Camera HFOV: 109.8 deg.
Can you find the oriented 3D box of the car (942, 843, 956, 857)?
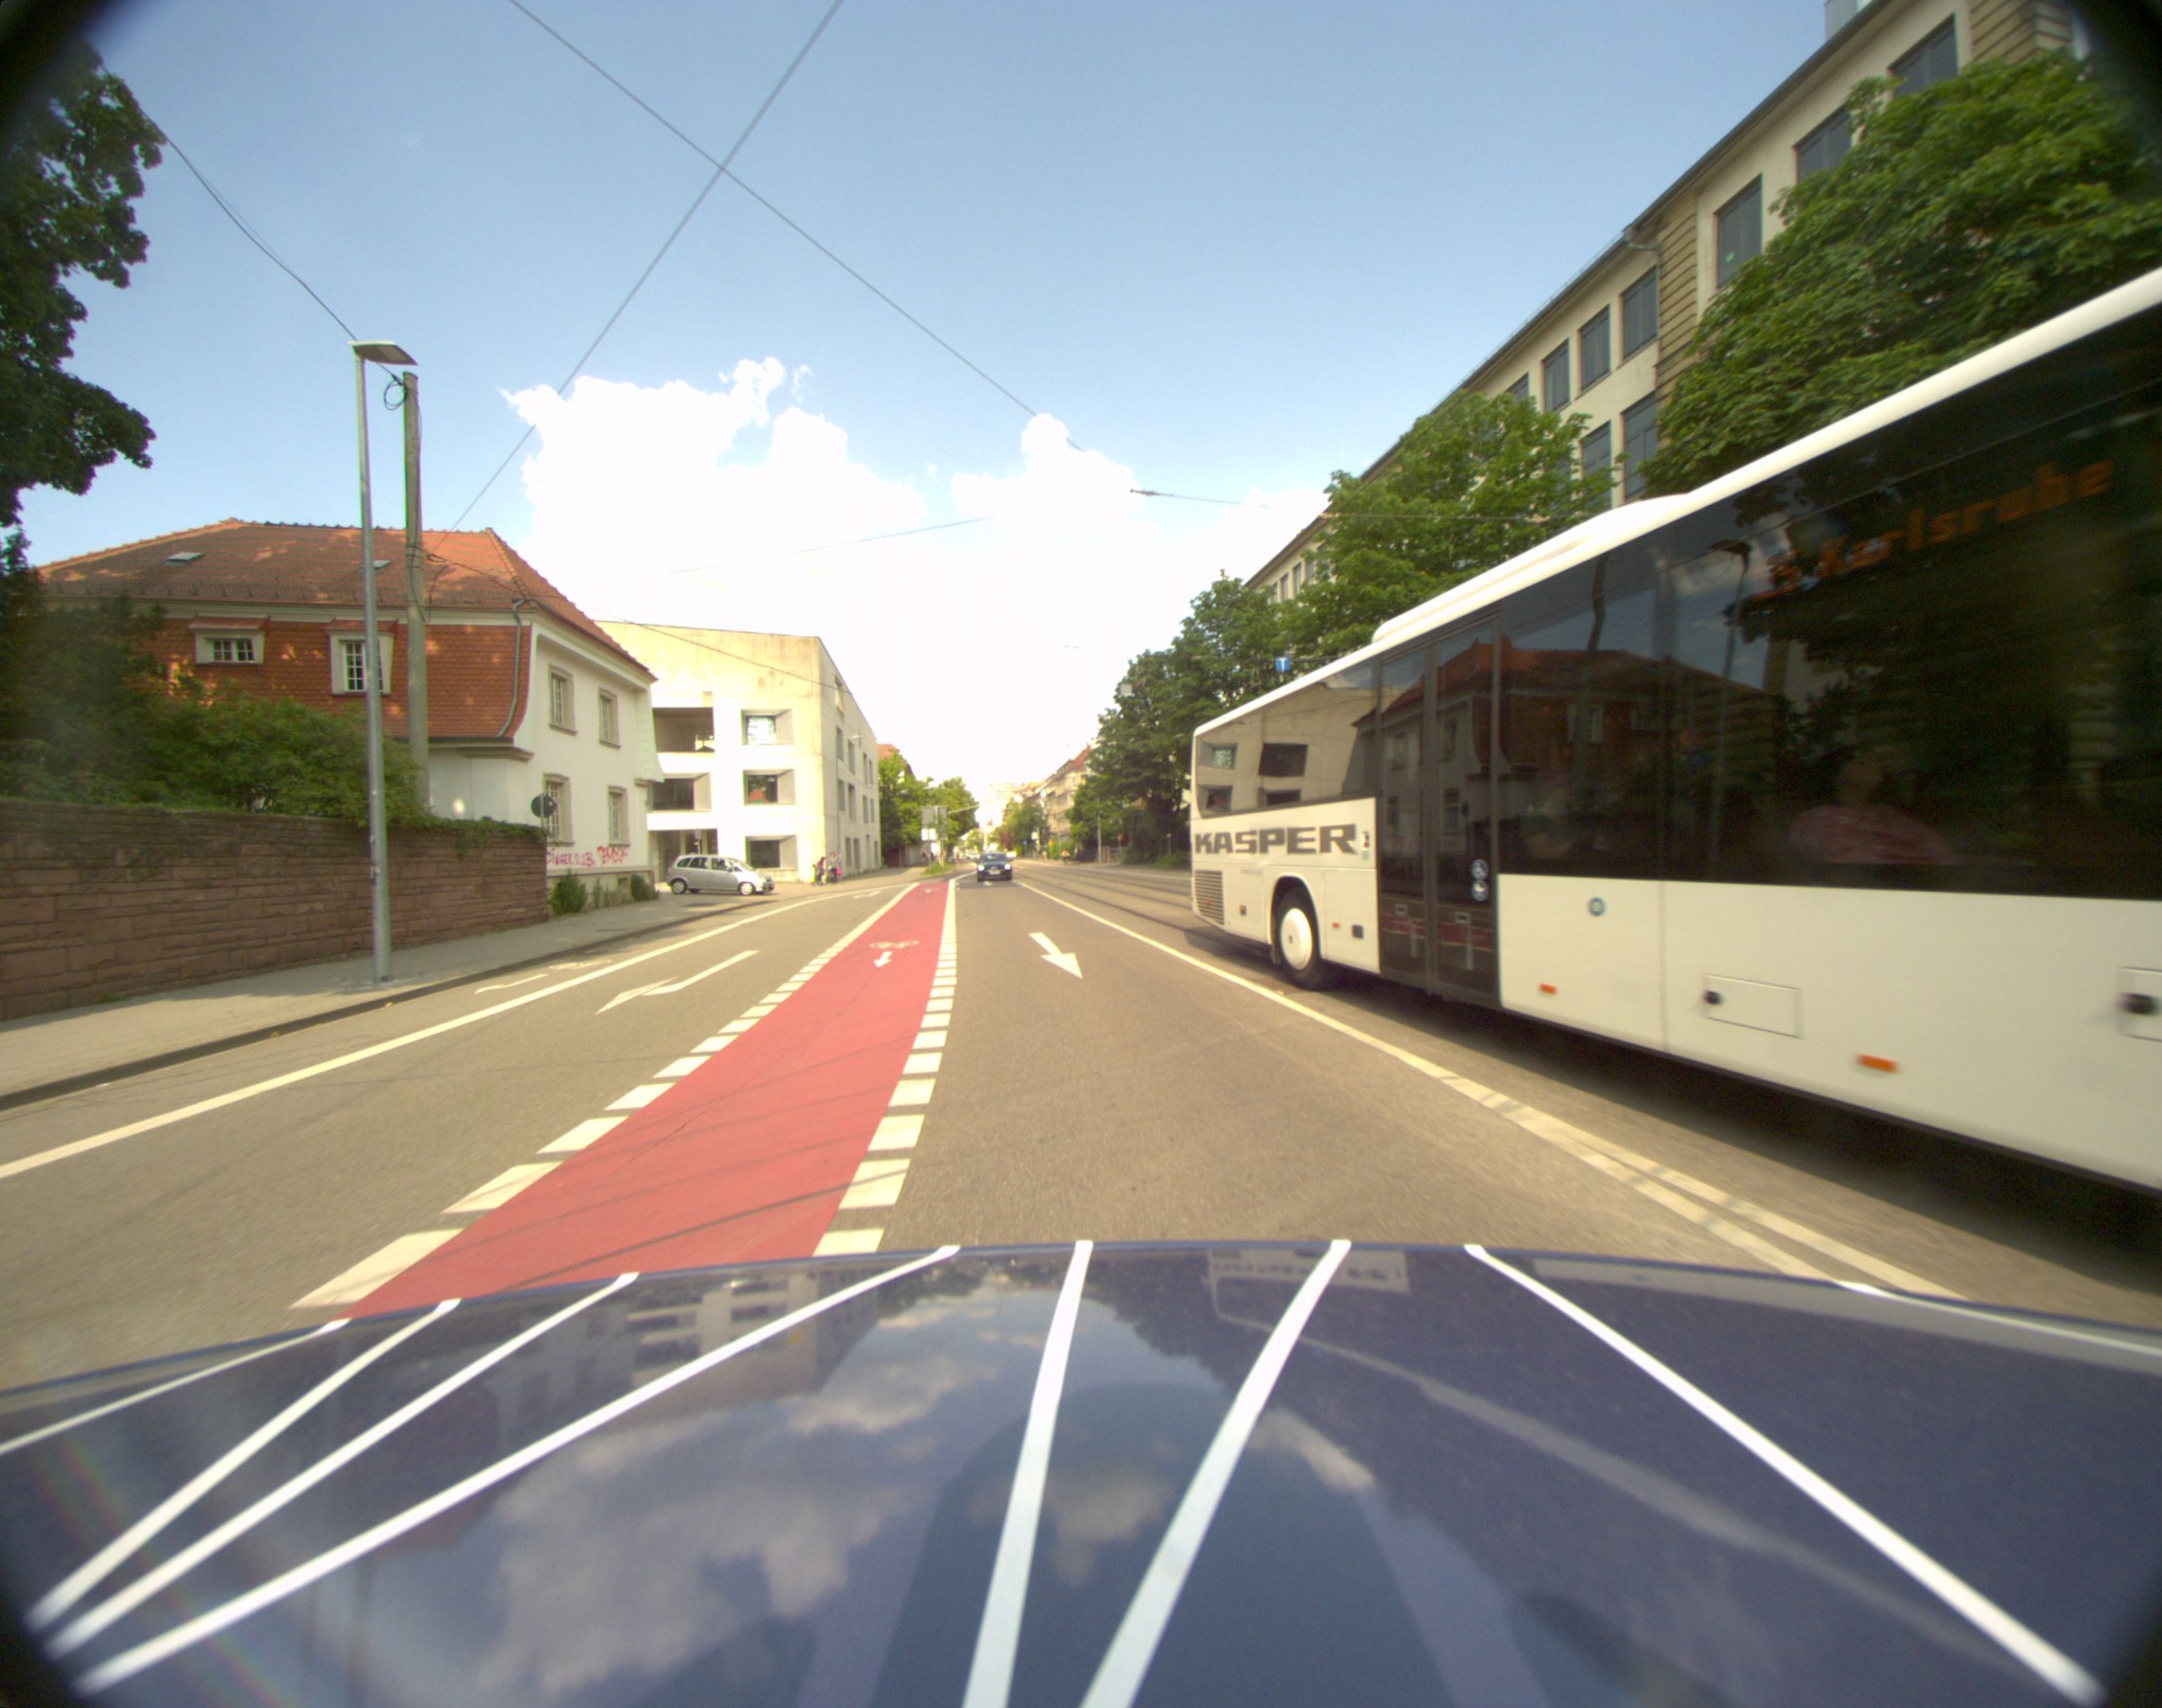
[{"bbox_3d":[-19.068,-0.568,110.087,1.902,1.930,4.946,-2,1,-10],"label":"car"}]

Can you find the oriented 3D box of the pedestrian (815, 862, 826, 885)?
[{"bbox_3d":[-13.551,1.033,39.565,0.423,1.193,0.405,0,-1,-42],"label":"pedestrian"}]

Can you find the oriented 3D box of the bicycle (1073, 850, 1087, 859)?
[{"bbox_3d":[-0.153,0.013,88.696,1.146,0.903,2.986,-5,1,-10],"label":"bicycle"}]

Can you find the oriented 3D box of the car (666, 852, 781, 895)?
[{"bbox_3d":[-14.510,0.800,31.004,3.891,1.595,1.664,-2,-1,-5],"label":"car"}]

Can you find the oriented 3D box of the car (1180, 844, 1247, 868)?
[{"bbox_3d":[8.574,0.120,48.960,4.249,1.439,1.789,-2,1,-37],"label":"car"}]

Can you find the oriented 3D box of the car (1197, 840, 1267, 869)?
[{"bbox_3d":[9.223,-0.002,46.265,4.249,1.541,1.922,-3,1,-40],"label":"car"}]

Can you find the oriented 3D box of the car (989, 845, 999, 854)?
[{"bbox_3d":[-19.859,-1.092,173.039,1.904,1.896,5.378,-2,1,-11],"label":"car"}]

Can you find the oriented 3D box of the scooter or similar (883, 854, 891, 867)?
[{"bbox_3d":[-17.960,0.555,70.257,0.323,1.174,1.148,-2,1,3],"label":"scooter or similar"}]

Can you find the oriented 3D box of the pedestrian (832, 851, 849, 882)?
[{"bbox_3d":[-13.303,0.708,42.011,0.686,1.714,0.747,0,0,-2],"label":"pedestrian"}]

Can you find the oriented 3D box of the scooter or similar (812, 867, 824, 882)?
[{"bbox_3d":[-14.214,1.123,41.116,0.551,0.795,0.267,2,-1,-33],"label":"scooter or similar"}]

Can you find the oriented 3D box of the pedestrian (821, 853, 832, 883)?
[{"bbox_3d":[-13.519,0.734,40.366,0.521,1.571,0.548,0,0,-19],"label":"pedestrian"}]

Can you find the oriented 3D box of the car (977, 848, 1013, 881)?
[{"bbox_3d":[-4.572,0.523,39.964,1.695,1.568,4.153,-2,1,-9],"label":"car"}]

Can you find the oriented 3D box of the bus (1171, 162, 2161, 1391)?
[{"bbox_3d":[3.863,-0.272,5.043,2.927,3.309,12.192,-3,1,-10],"label":"bus"}]

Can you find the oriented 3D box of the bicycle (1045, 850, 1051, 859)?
[{"bbox_3d":[-4.354,0.102,100.073,0.604,1.091,2.021,4,0,-7],"label":"bicycle"}]

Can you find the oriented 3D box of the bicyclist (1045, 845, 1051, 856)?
[{"bbox_3d":[-4.324,-0.454,100.129,0.601,1.484,0.881,4,0,-7],"label":"bicyclist"}]

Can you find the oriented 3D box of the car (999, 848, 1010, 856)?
[{"bbox_3d":[-14.444,-0.416,142.828,1.694,1.394,3.926,0,0,-10],"label":"car"}]

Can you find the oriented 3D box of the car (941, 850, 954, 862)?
[{"bbox_3d":[-17.913,0.263,101.982,1.712,1.490,4.784,-2,1,-10],"label":"car"}]

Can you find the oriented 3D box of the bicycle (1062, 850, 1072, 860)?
[{"bbox_3d":[-1.428,0.058,77.805,0.701,1.011,1.817,-1,0,-13],"label":"bicycle"}]

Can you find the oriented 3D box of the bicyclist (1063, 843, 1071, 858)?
[{"bbox_3d":[-1.457,-0.350,77.837,0.693,1.510,0.867,0,1,-13],"label":"bicyclist"}]

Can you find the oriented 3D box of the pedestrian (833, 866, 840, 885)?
[{"bbox_3d":[-13.154,1.150,40.916,0.344,1.004,0.396,0,0,-18],"label":"pedestrian"}]
